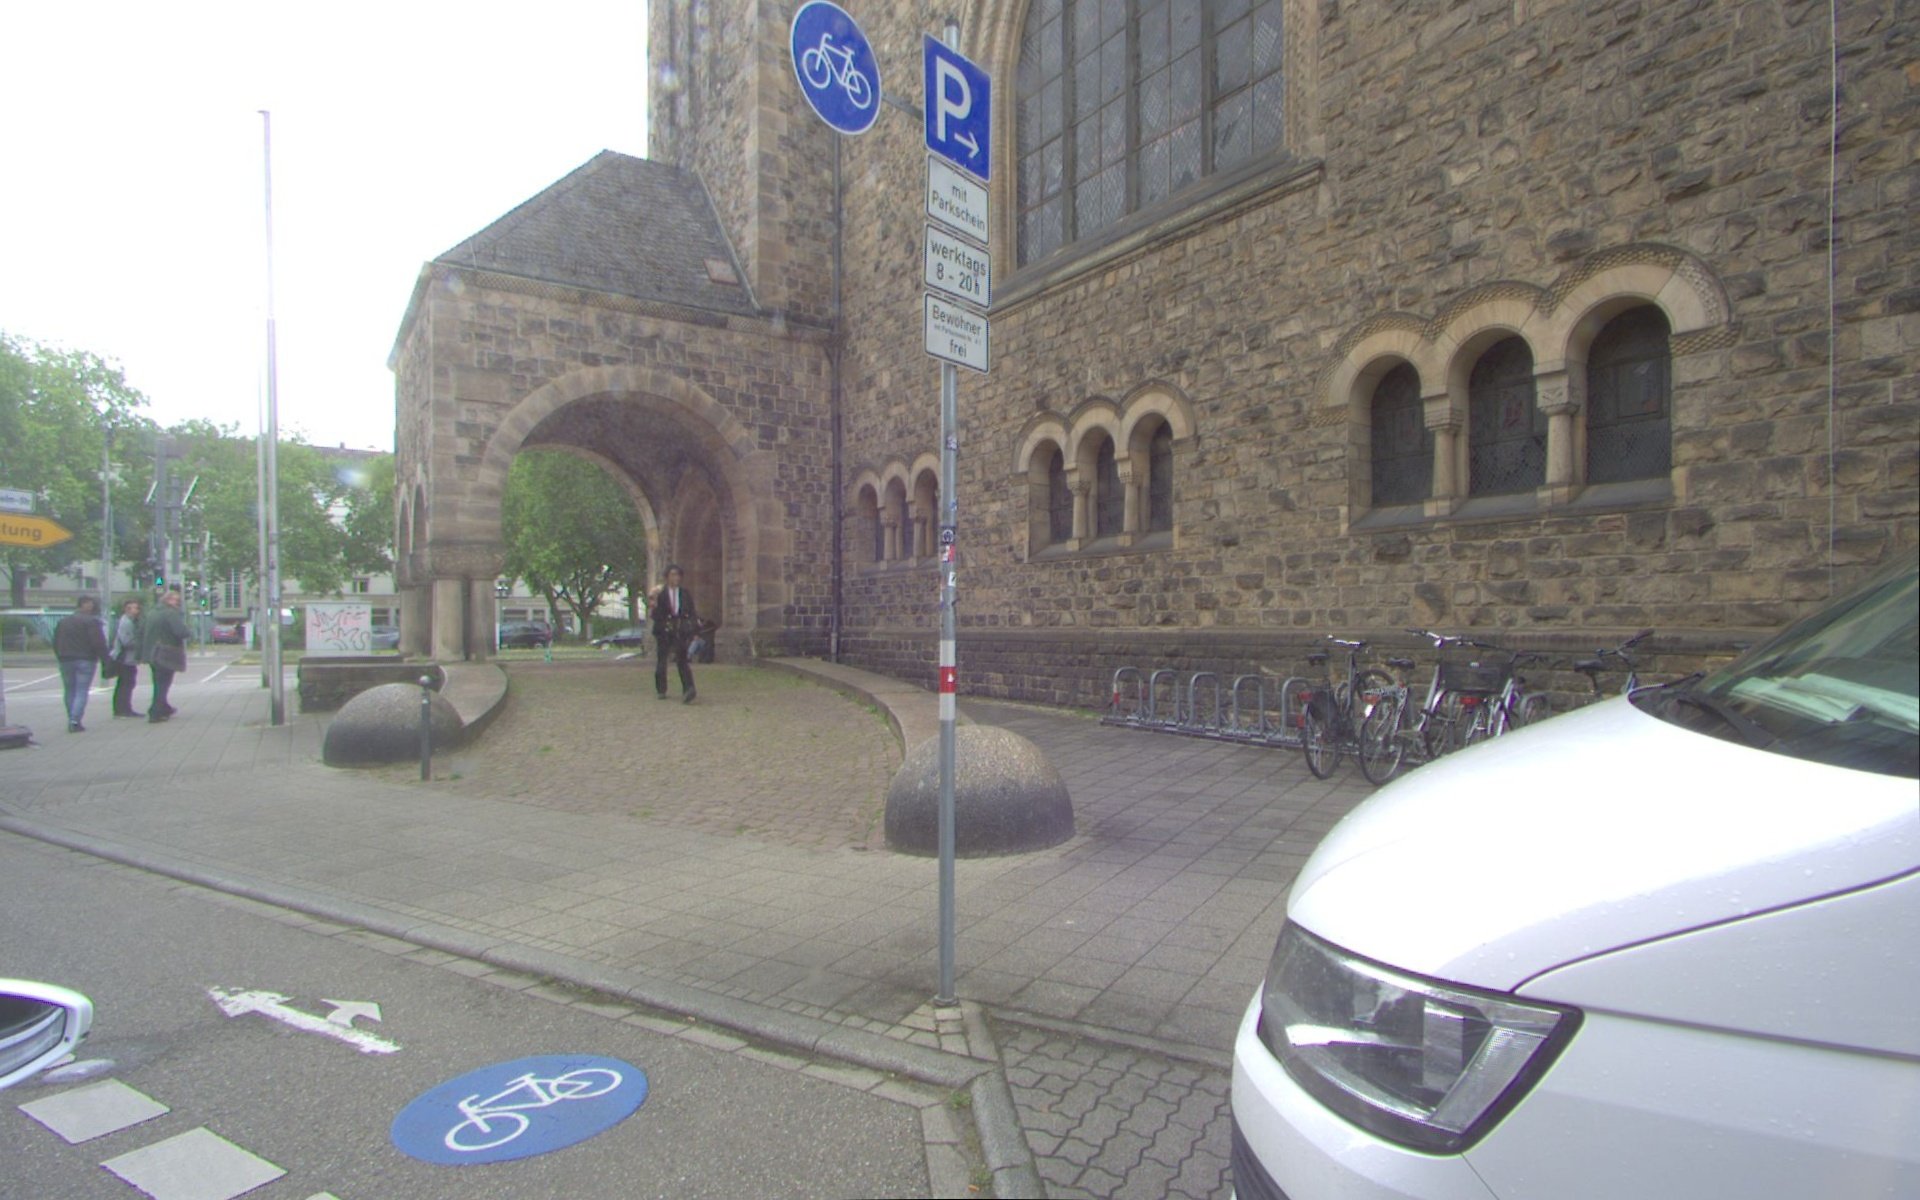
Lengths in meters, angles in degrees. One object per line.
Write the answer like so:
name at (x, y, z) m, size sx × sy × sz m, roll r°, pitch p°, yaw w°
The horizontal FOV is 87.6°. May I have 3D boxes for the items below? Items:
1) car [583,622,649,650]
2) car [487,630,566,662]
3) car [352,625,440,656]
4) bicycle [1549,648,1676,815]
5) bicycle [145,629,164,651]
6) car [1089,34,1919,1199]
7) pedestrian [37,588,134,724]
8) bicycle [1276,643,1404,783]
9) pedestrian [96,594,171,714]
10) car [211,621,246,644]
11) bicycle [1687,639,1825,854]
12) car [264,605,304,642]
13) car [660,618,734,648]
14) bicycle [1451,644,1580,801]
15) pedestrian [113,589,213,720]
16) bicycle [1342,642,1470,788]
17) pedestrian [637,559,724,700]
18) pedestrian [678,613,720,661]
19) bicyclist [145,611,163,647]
car at (-20.388, 2.108, 59.395) m, size 3.423 × 1.581 × 1.676 m, roll 1°, pitch -1°, yaw -35°
car at (-24.514, 2.589, 56.664) m, size 3.899 × 1.733 × 1.676 m, roll 1°, pitch -1°, yaw -35°
car at (-29.719, 2.101, 52.805) m, size 3.939 × 1.581 × 1.676 m, roll 1°, pitch -1°, yaw -35°
bicycle at (4.645, 0.890, 7.106) m, size 1.327 × 1.073 × 0.309 m, roll 1°, pitch -1°, yaw -36°
bicycle at (-37.477, 1.851, 46.595) m, size 0.546 × 1.008 × 2.047 m, roll 0°, pitch -1°, yaw -35°
car at (2.801, 0.459, 0.789) m, size 5.088 × 1.945 × 1.802 m, roll -1°, pitch -1°, yaw 31°
pedestrian at (-11.454, 0.709, 13.115) m, size 0.955 × 1.708 × 0.673 m, roll 0°, pitch 2°, yaw 32°
bicycle at (3.201, 0.909, 8.385) m, size 1.366 × 1.073 × 0.309 m, roll 1°, pitch -1°, yaw -36°
pedestrian at (-12.188, 0.767, 14.766) m, size 0.957 × 1.696 × 0.630 m, roll 0°, pitch 2°, yaw 39°
car at (-51.558, 2.270, 70.670) m, size 1.647 × 1.535 × 3.916 m, roll 1°, pitch -1°, yaw -31°
bicycle at (4.781, 0.820, 5.992) m, size 1.327 × 1.161 × 0.309 m, roll 1°, pitch -1°, yaw -36°
car at (-50.636, 1.738, 75.138) m, size 2.211 × 2.673 × 5.417 m, roll 1°, pitch -1°, yaw -31°
car at (-19.569, 2.438, 74.662) m, size 5.023 × 2.123 × 1.979 m, roll 1°, pitch -1°, yaw -35°
bicycle at (4.200, 0.881, 7.539) m, size 1.366 × 1.073 × 0.309 m, roll 1°, pitch -1°, yaw -36°
pedestrian at (-11.270, 0.742, 14.165) m, size 0.955 × 1.782 × 0.802 m, roll 0°, pitch 2°, yaw 32°
bicycle at (3.611, 0.889, 8.071) m, size 1.366 × 1.073 × 0.309 m, roll 1°, pitch -1°, yaw -36°
pedestrian at (-3.843, 0.376, 13.750) m, size 0.806 × 1.833 × 1.012 m, roll 0°, pitch 3°, yaw -37°
pedestrian at (-5.362, 0.758, 20.588) m, size 0.665 × 0.964 × 0.611 m, roll 0°, pitch -1°, yaw -36°
bicyclist at (-37.485, 1.338, 46.590) m, size 0.608 × 1.675 × 0.749 m, roll 0°, pitch -1°, yaw -36°
